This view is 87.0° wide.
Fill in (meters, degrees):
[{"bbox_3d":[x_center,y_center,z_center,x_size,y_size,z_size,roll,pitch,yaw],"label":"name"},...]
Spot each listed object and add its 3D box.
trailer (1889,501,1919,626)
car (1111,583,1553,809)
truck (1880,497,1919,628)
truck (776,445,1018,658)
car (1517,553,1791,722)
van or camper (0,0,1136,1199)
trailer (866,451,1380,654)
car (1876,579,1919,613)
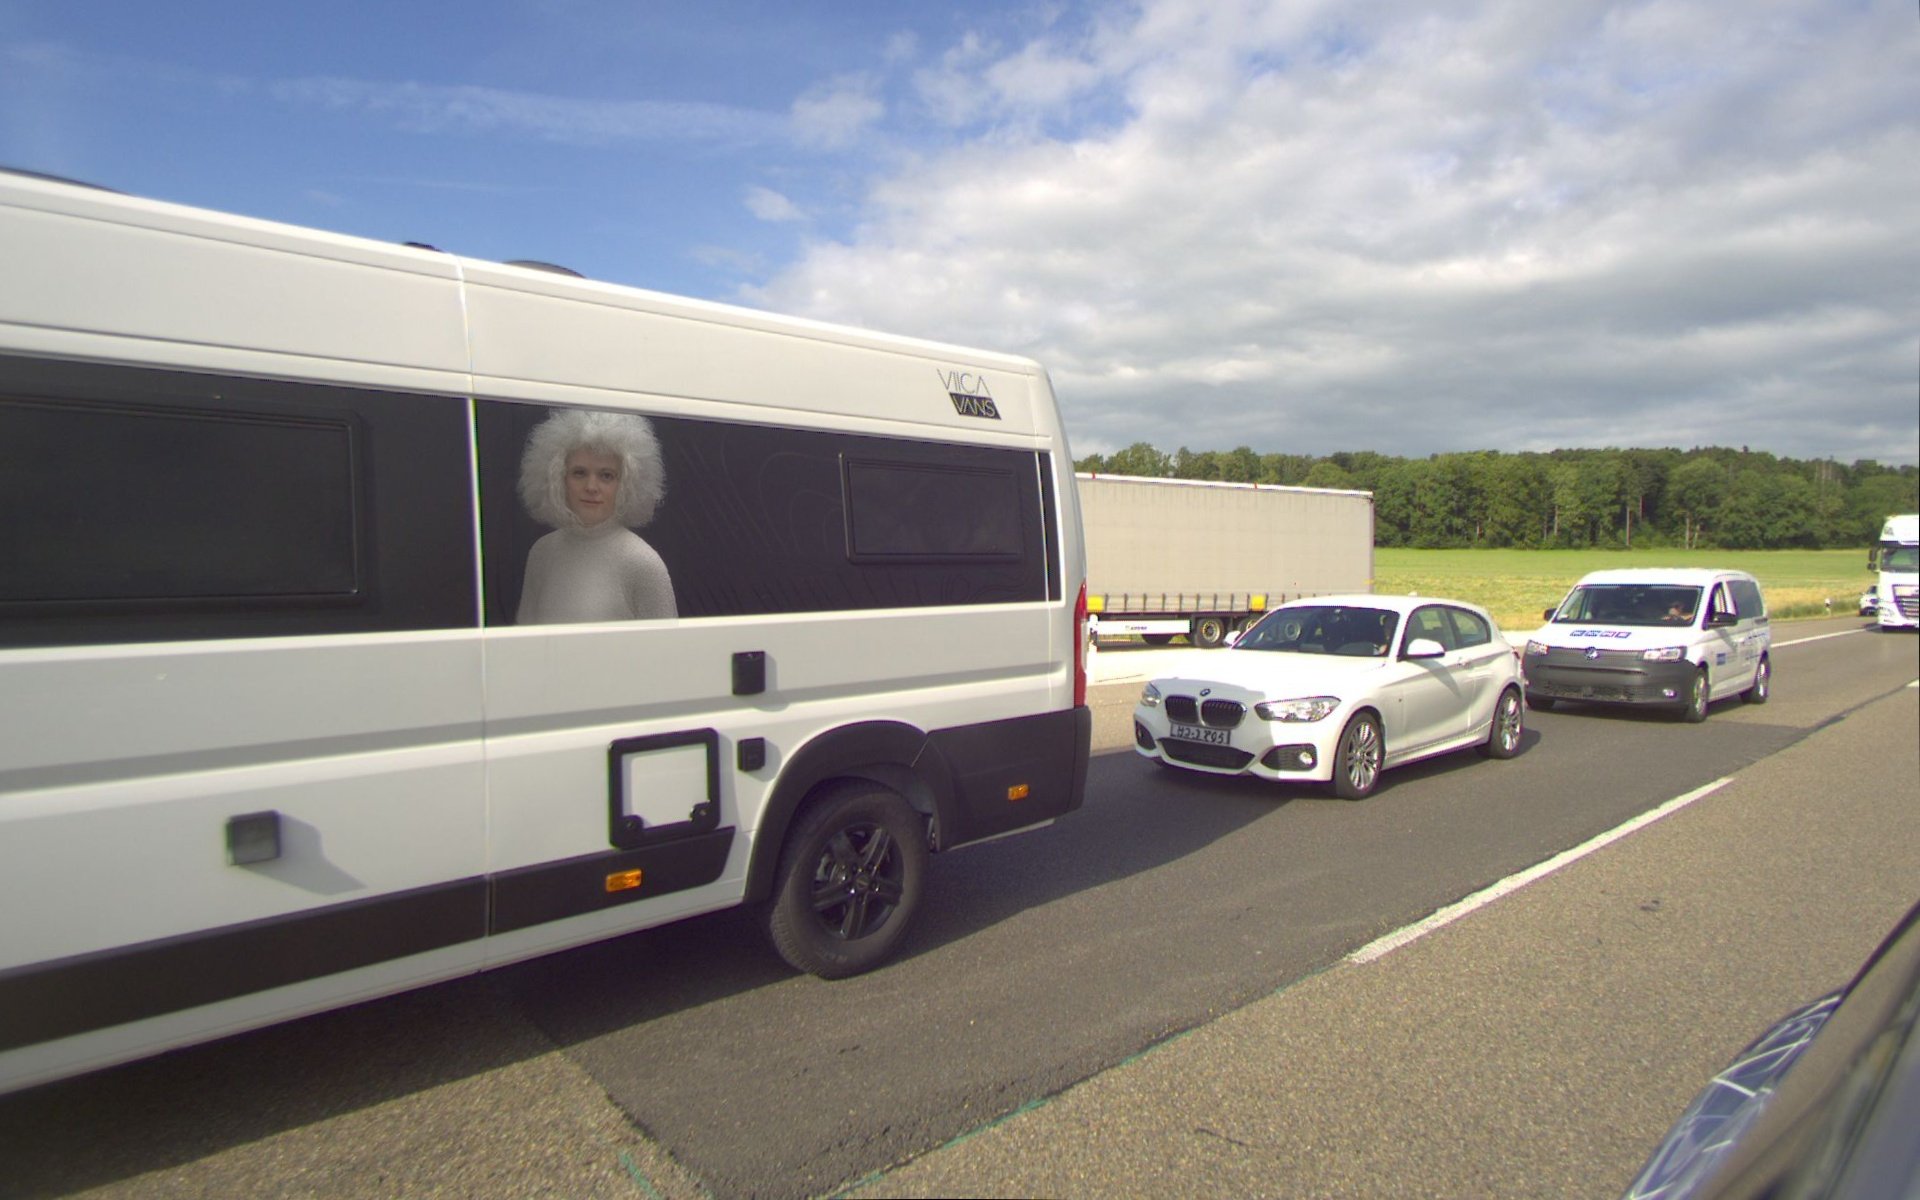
[{"bbox_3d":[37.982,-1.389,38.282,13.777,4.212,2.740,-2,1,-41],"label":"trailer"},{"bbox_3d":[3.278,0.588,8.498,4.158,1.450,1.706,-1,1,-41],"label":"car"},{"bbox_3d":[33.335,-1.260,34.182,5.667,4.226,2.733,-1,1,-41],"label":"truck"},{"bbox_3d":[-1.406,-0.980,22.357,4.662,4.226,2.727,0,0,-26],"label":"truck"},{"bbox_3d":[8.896,0.371,12.812,4.620,1.779,1.727,-1,0,-41],"label":"car"},{"bbox_3d":[-2.255,0.000,3.419,6.222,2.714,2.219,-1,1,-41],"label":"van or camper"},{"bbox_3d":[4.512,-1.016,25.227,13.543,4.213,2.749,0,0,-26],"label":"trailer"},{"bbox_3d":[47.344,-0.219,50.572,4.595,1.612,1.807,-1,2,-41],"label":"car"}]
